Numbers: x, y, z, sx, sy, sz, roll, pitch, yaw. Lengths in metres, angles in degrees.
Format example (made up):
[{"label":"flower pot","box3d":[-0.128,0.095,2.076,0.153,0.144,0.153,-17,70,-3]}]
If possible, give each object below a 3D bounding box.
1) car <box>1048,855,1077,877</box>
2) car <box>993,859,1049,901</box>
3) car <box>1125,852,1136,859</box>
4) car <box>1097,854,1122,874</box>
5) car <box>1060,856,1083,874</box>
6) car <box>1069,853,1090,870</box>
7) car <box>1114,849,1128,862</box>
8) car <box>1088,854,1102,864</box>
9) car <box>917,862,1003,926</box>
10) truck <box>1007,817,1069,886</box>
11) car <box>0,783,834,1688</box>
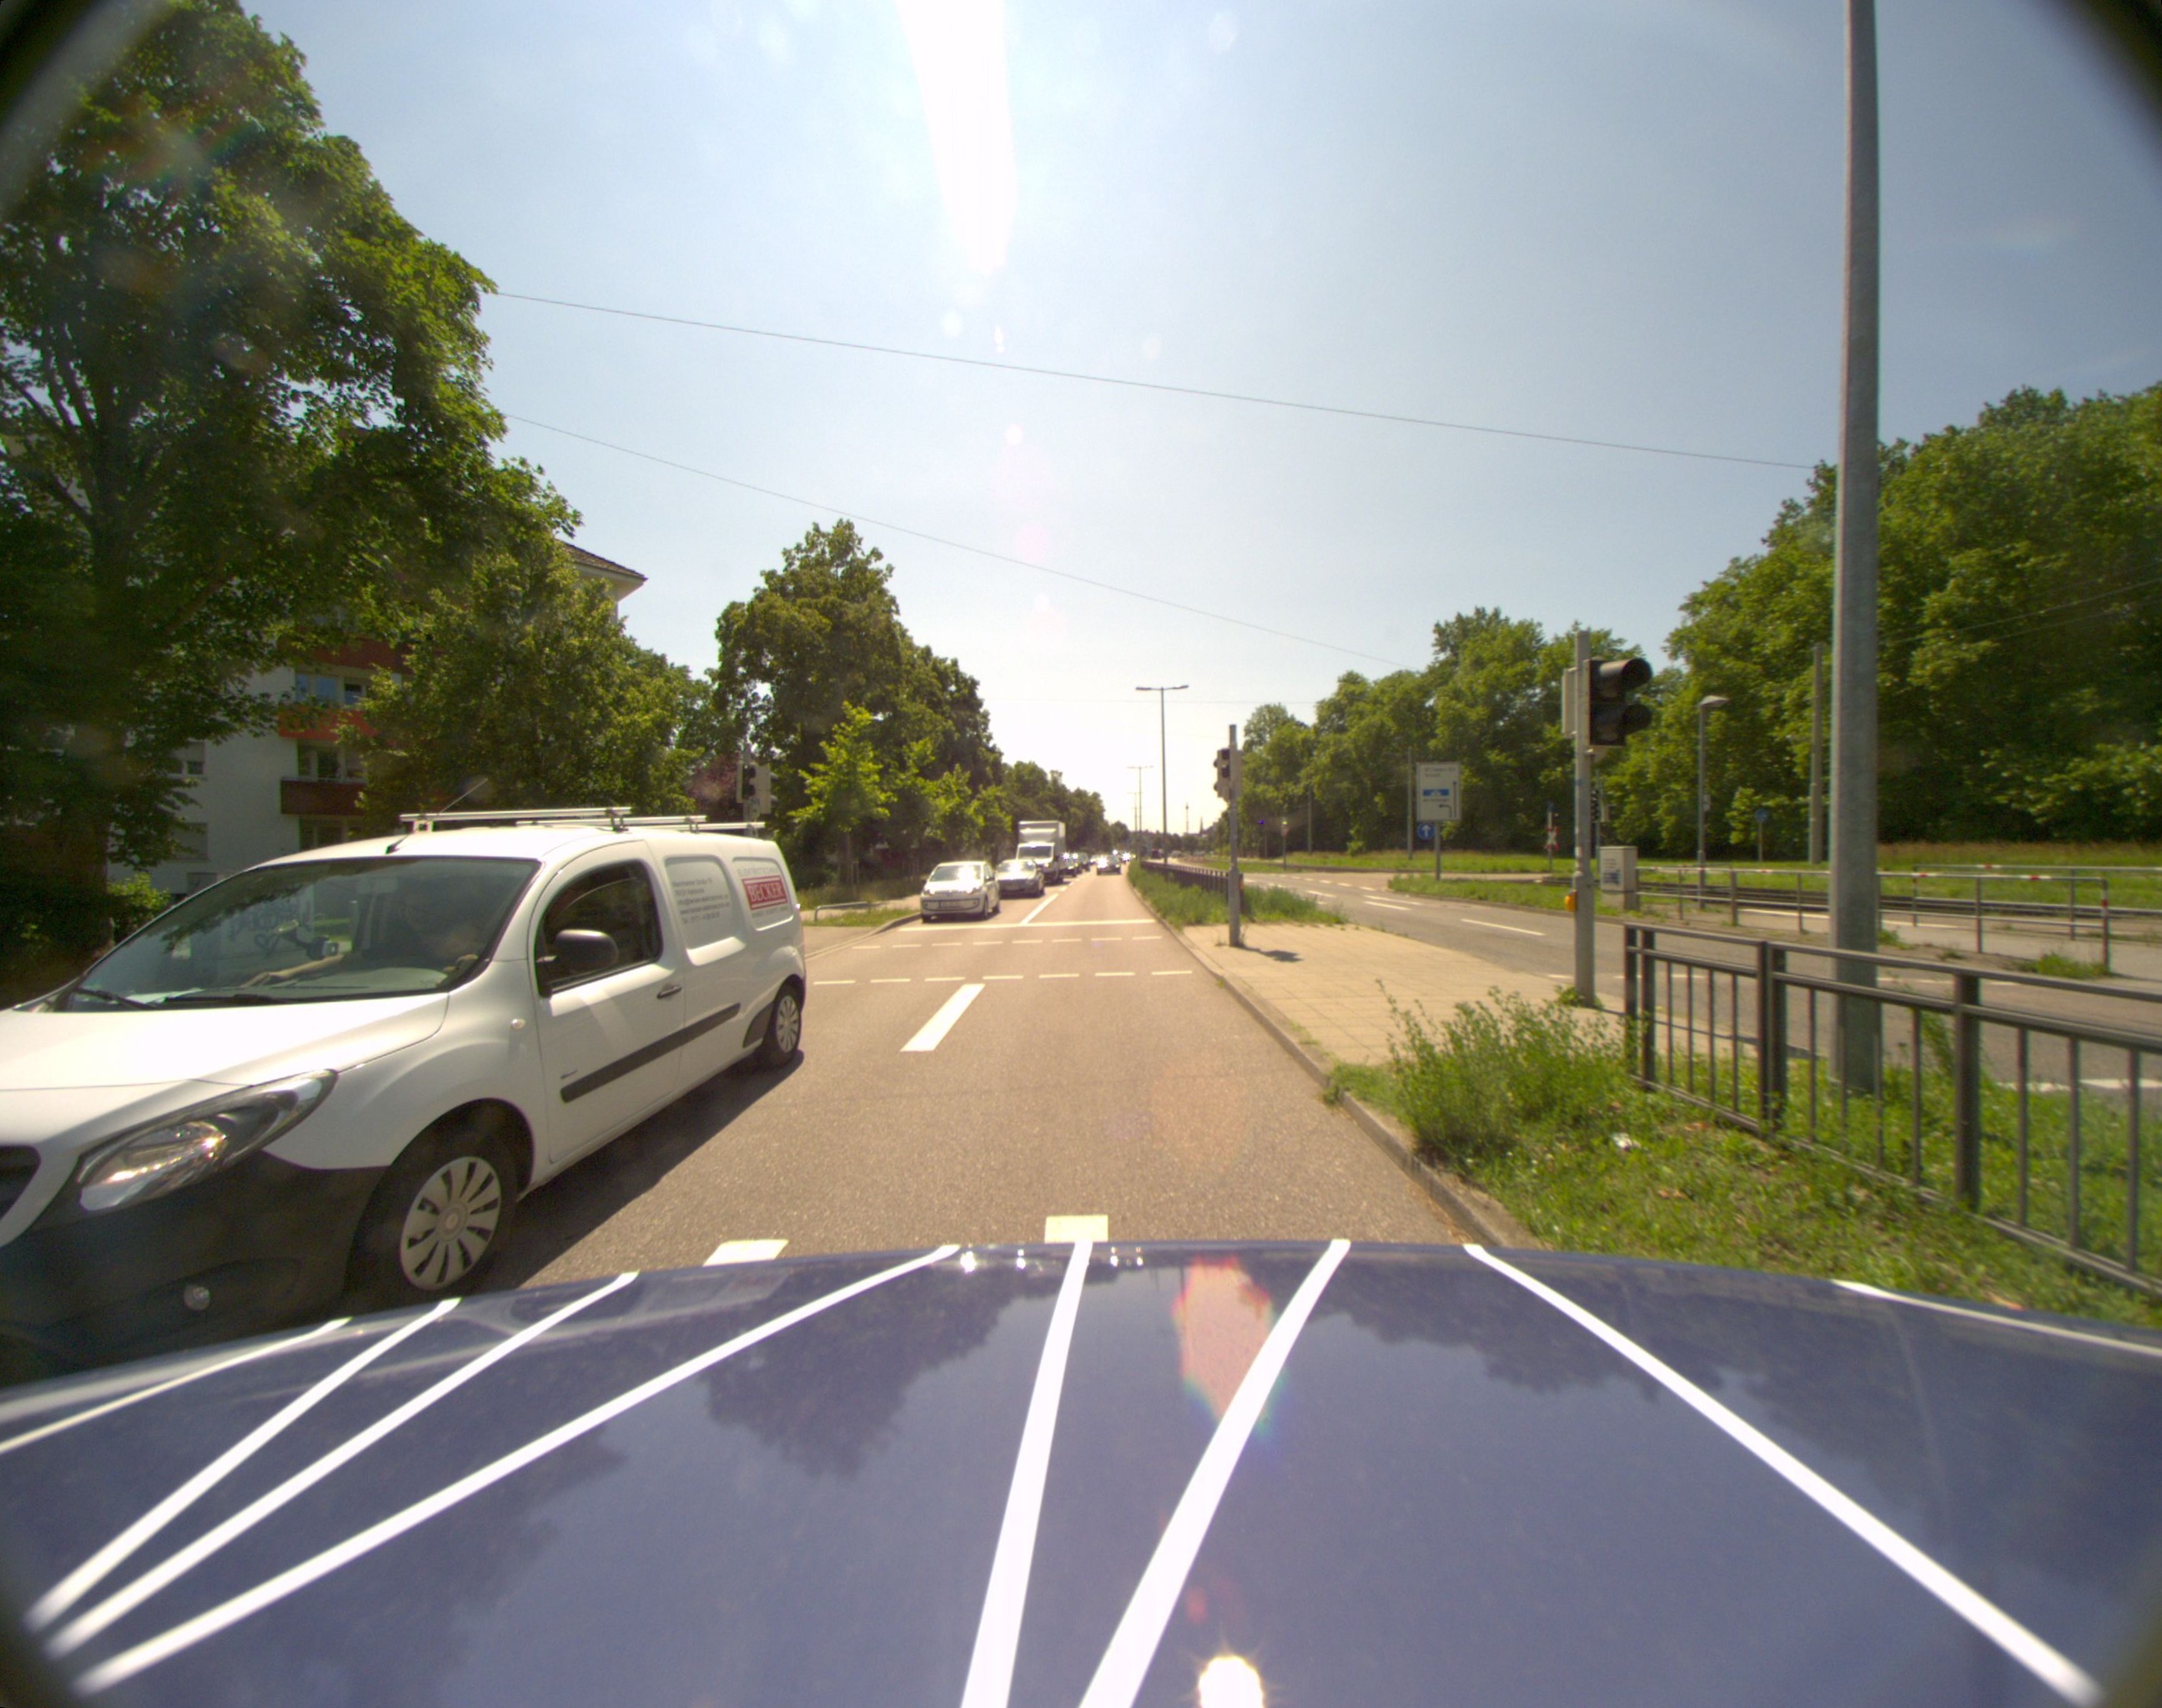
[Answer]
[{"label":"car","box3d":[-1.220,0.766,52.188,1.746,1.382,3.887,-1,1,2]},{"label":"car","box3d":[-2.235,0.929,29.131,1.618,1.373,4.115,-2,0,2]},{"label":"car","box3d":[9.485,0.287,145.553,1.745,1.382,3.889,-1,1,7]},{"label":"car","box3d":[2.112,0.694,56.469,1.746,1.382,3.887,-1,1,2]},{"label":"car","box3d":[-0.747,0.858,61.338,1.618,1.373,4.115,-2,0,2]},{"label":"car","box3d":[-0.134,0.662,68.579,1.746,1.382,3.887,-1,1,2]},{"label":"car","box3d":[5.590,0.171,106.393,1.746,1.840,3.887,-1,1,2]},{"label":"car","box3d":[1.946,0.696,105.826,1.745,1.382,3.888,-1,1,4]},{"label":"car","box3d":[-3.104,0.977,20.110,1.626,1.433,3.498,-2,0,0]},{"label":"truck","box3d":[-2.147,-0.130,40.233,2.489,3.277,6.605,-1,0,3]},{"label":"car","box3d":[-3.081,0.807,4.069,1.809,1.845,5.081,-2,0,0]}]
